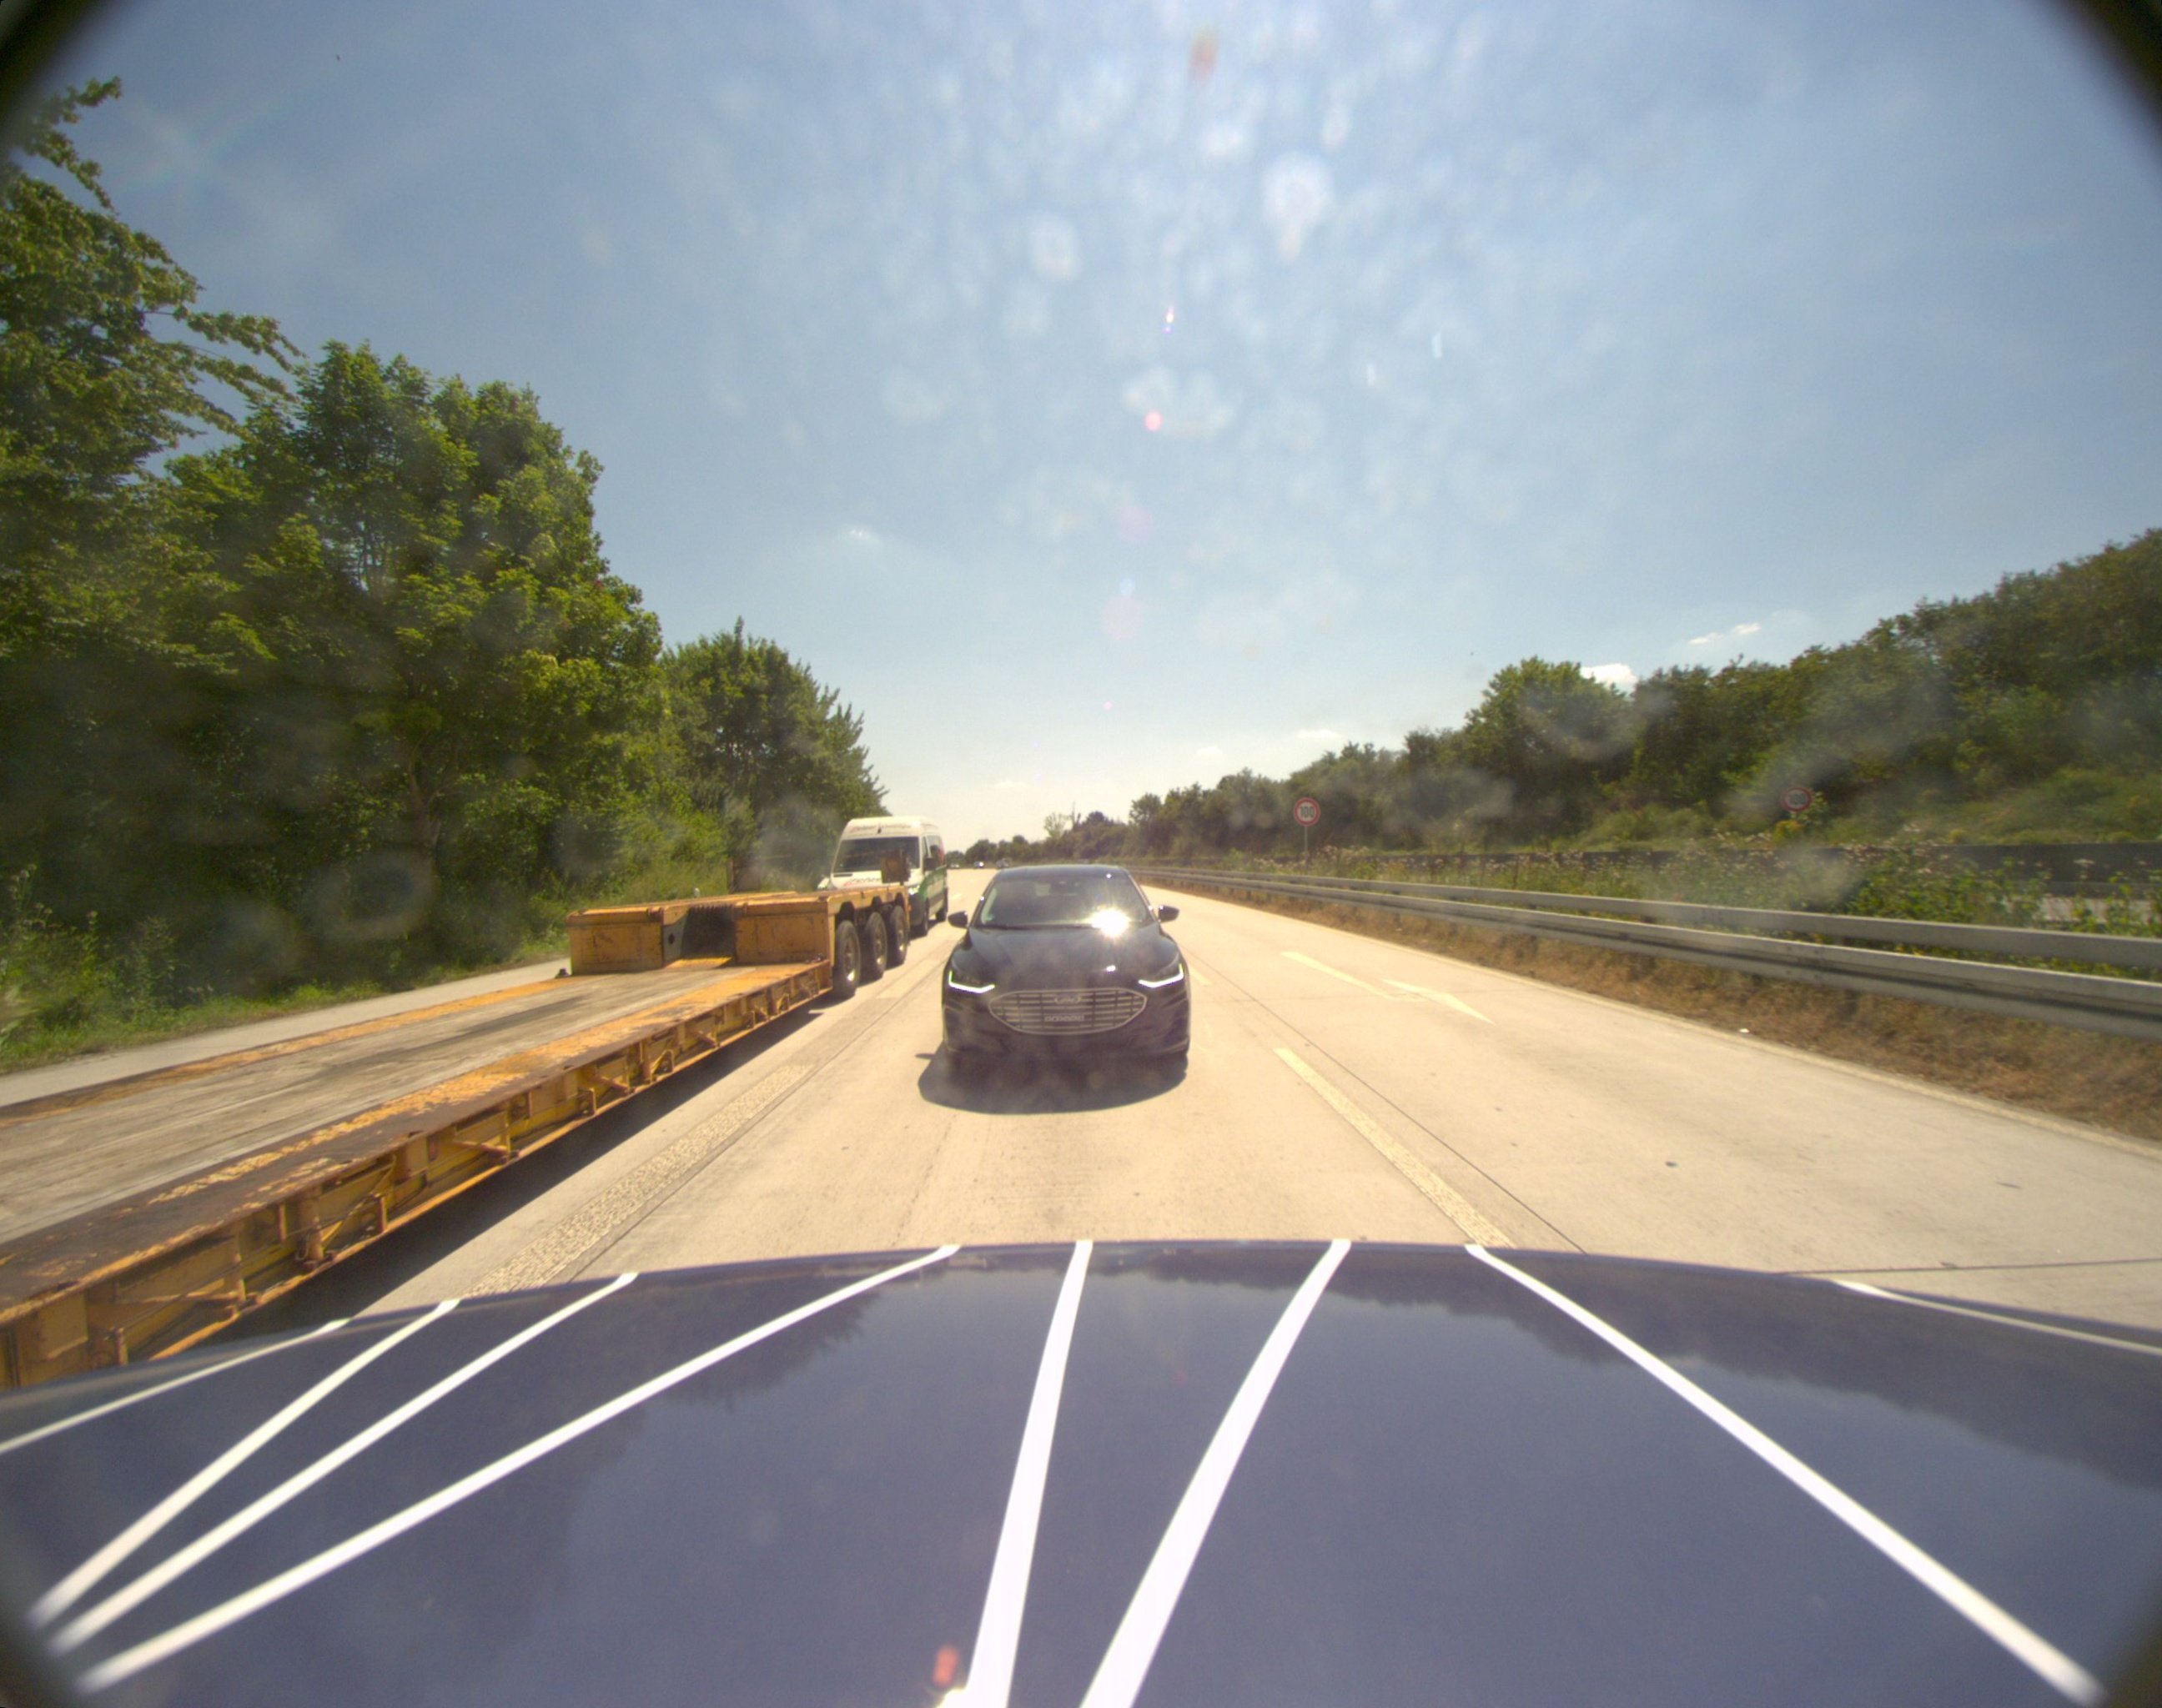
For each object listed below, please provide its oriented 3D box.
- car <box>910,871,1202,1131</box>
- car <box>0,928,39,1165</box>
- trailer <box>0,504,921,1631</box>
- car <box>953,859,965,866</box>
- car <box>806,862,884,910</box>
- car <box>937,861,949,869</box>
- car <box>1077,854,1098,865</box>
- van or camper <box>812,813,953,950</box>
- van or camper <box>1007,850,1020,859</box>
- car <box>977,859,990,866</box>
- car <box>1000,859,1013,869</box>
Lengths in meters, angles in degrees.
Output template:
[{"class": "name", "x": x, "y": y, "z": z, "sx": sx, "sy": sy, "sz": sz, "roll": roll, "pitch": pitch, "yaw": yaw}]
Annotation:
[{"class": "car", "x": -0.122, "y": 0.949, "z": 6.795, "sx": 1.731, "sy": 1.430, "sz": 4.304, "roll": -2, "pitch": 0, "yaw": 1}, {"class": "car", "x": -7.567, "y": 1.253, "z": 2.556, "sx": 1.772, "sy": 1.453, "sz": 4.597, "roll": -2, "pitch": 1, "yaw": -1}, {"class": "trailer", "x": -4.022, "y": 0.521, "z": 3.795, "sx": 3.035, "sy": 2.578, "sz": 16.355, "roll": -2, "pitch": 0, "yaw": 0}, {"class": "car", "x": -27.916, "y": 1.882, "z": 174.296, "sx": 1.893, "sy": 1.456, "sz": 3.993, "roll": -3, "pitch": 1, "yaw": -21}, {"class": "car", "x": -8.831, "y": 1.147, "z": 28.812, "sx": 1.772, "sy": 1.552, "sz": 4.366, "roll": -2, "pitch": 1, "yaw": -3}, {"class": "car", "x": -29.781, "y": 2.345, "z": 164.400, "sx": 1.775, "sy": 1.552, "sz": 4.360, "roll": -2, "pitch": 1, "yaw": -20}, {"class": "car", "x": 0.900, "y": 0.761, "z": 110.737, "sx": 1.879, "sy": 1.438, "sz": 4.597, "roll": -2, "pitch": 1, "yaw": -14}, {"class": "van or camper", "x": -4.293, "y": 0.498, "z": 17.546, "sx": 2.069, "sy": 2.559, "sz": 5.904, "roll": -2, "pitch": 1, "yaw": -5}, {"class": "van or camper", "x": -15.494, "y": 0.170, "z": 174.209, "sx": 2.180, "sy": 2.002, "sz": 5.632, "roll": -2, "pitch": 1, "yaw": -12}, {"class": "car", "x": -20.412, "y": 1.777, "z": 159.117, "sx": 1.709, "sy": 1.456, "sz": 3.993, "roll": -3, "pitch": 1, "yaw": -20}, {"class": "car", "x": -12.285, "y": 1.620, "z": 125.141, "sx": 1.629, "sy": 1.476, "sz": 3.995, "roll": -2, "pitch": 1, "yaw": -14}]
